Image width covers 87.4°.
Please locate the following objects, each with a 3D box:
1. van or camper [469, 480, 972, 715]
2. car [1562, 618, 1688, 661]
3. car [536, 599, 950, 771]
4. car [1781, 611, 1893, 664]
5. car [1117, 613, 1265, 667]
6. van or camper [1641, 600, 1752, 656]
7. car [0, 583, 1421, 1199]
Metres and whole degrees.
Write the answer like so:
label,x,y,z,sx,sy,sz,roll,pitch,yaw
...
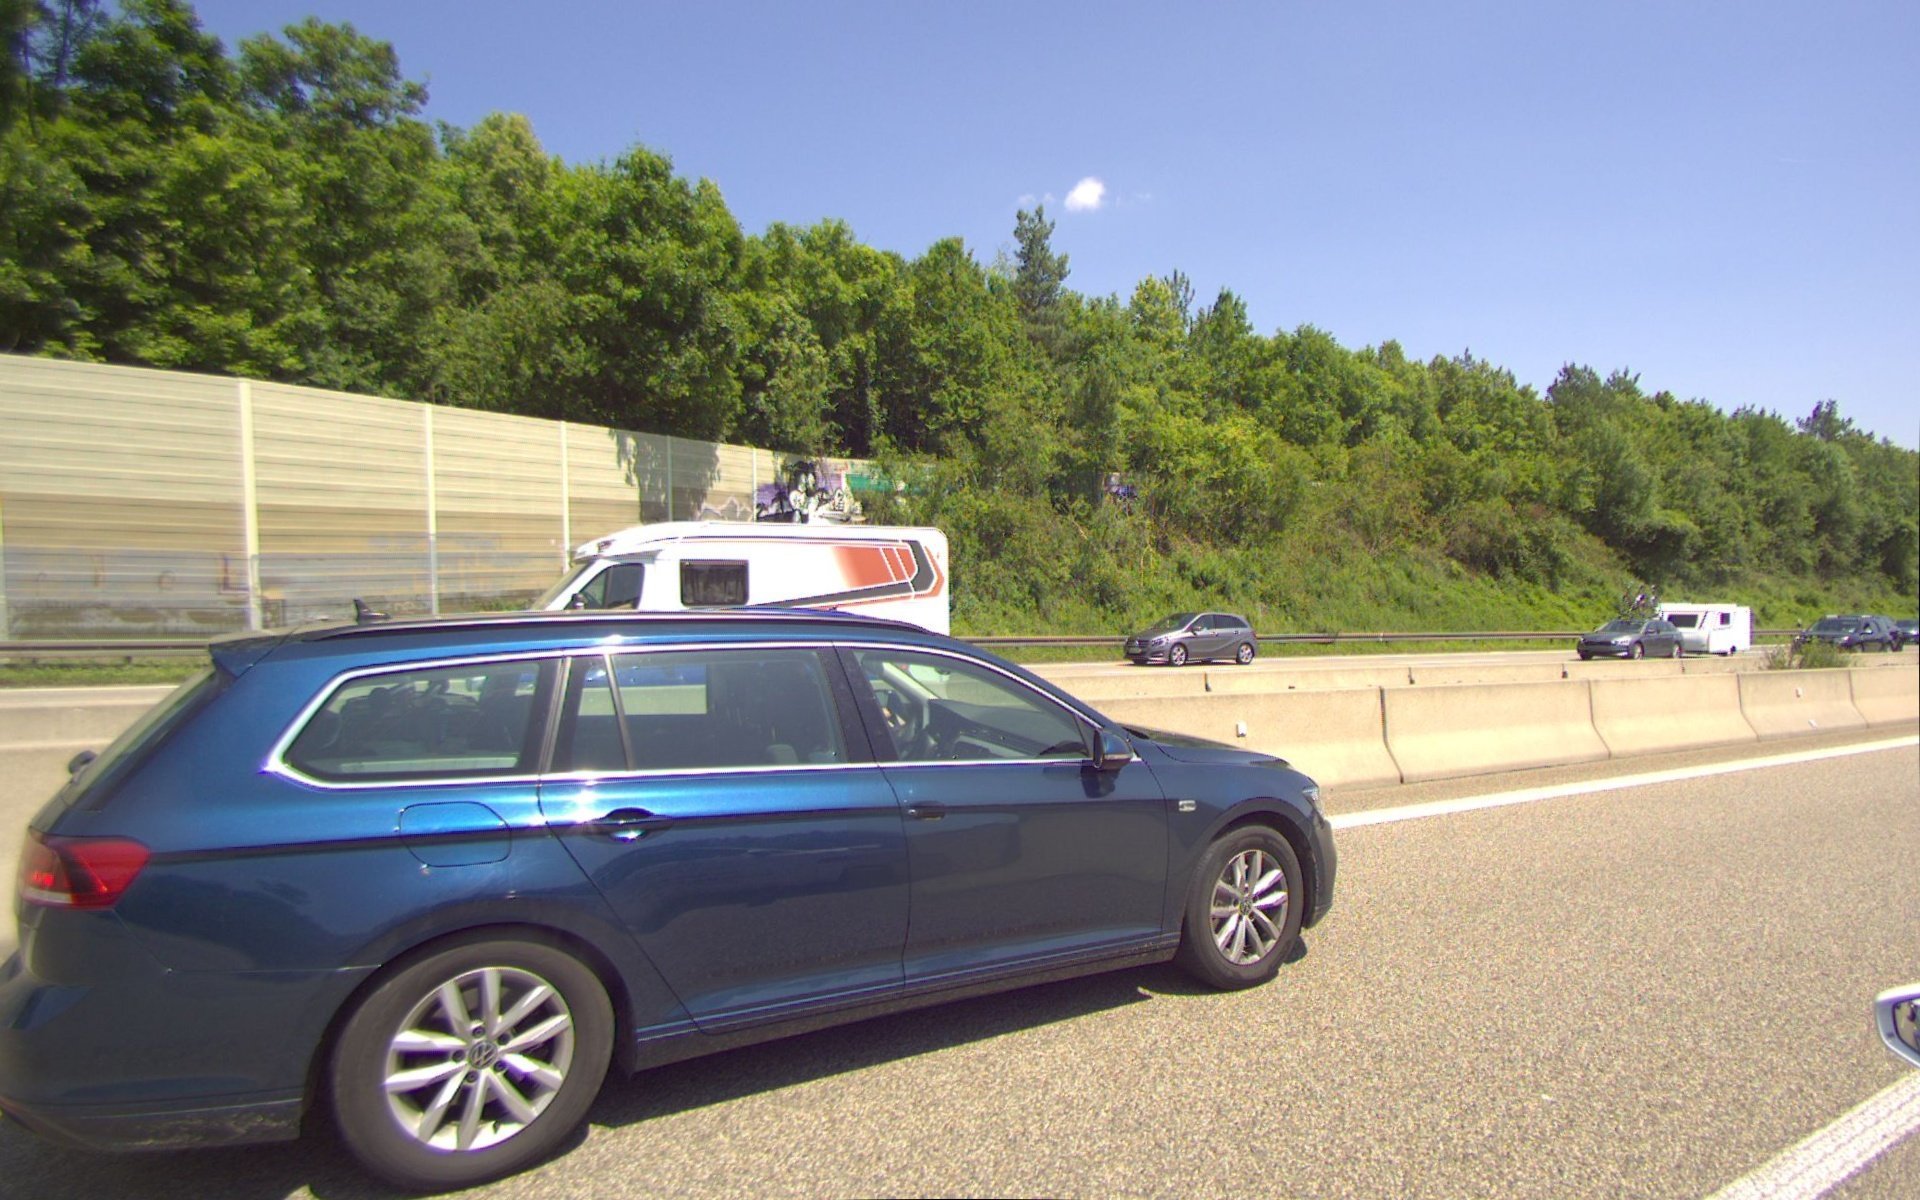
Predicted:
label,x,y,z,sx,sy,sz,roll,pitch,yaw
van or camper,-3.286,0.069,14.609,6.728,2.772,2.258,2,-1,-31
car,23.054,1.331,34.792,4.668,1.365,1.792,1,0,-31
car,-2.292,0.806,10.920,4.081,1.558,1.702,1,-1,-31
car,30.236,1.277,34.610,4.147,1.705,1.684,1,0,-31
car,6.792,1.132,29.360,4.337,1.481,1.570,1,-1,-30
van or camper,27.510,1.019,37.517,3.661,2.003,2.066,1,-1,-30
car,-0.473,0.727,3.845,4.675,1.446,1.724,1,0,-31
